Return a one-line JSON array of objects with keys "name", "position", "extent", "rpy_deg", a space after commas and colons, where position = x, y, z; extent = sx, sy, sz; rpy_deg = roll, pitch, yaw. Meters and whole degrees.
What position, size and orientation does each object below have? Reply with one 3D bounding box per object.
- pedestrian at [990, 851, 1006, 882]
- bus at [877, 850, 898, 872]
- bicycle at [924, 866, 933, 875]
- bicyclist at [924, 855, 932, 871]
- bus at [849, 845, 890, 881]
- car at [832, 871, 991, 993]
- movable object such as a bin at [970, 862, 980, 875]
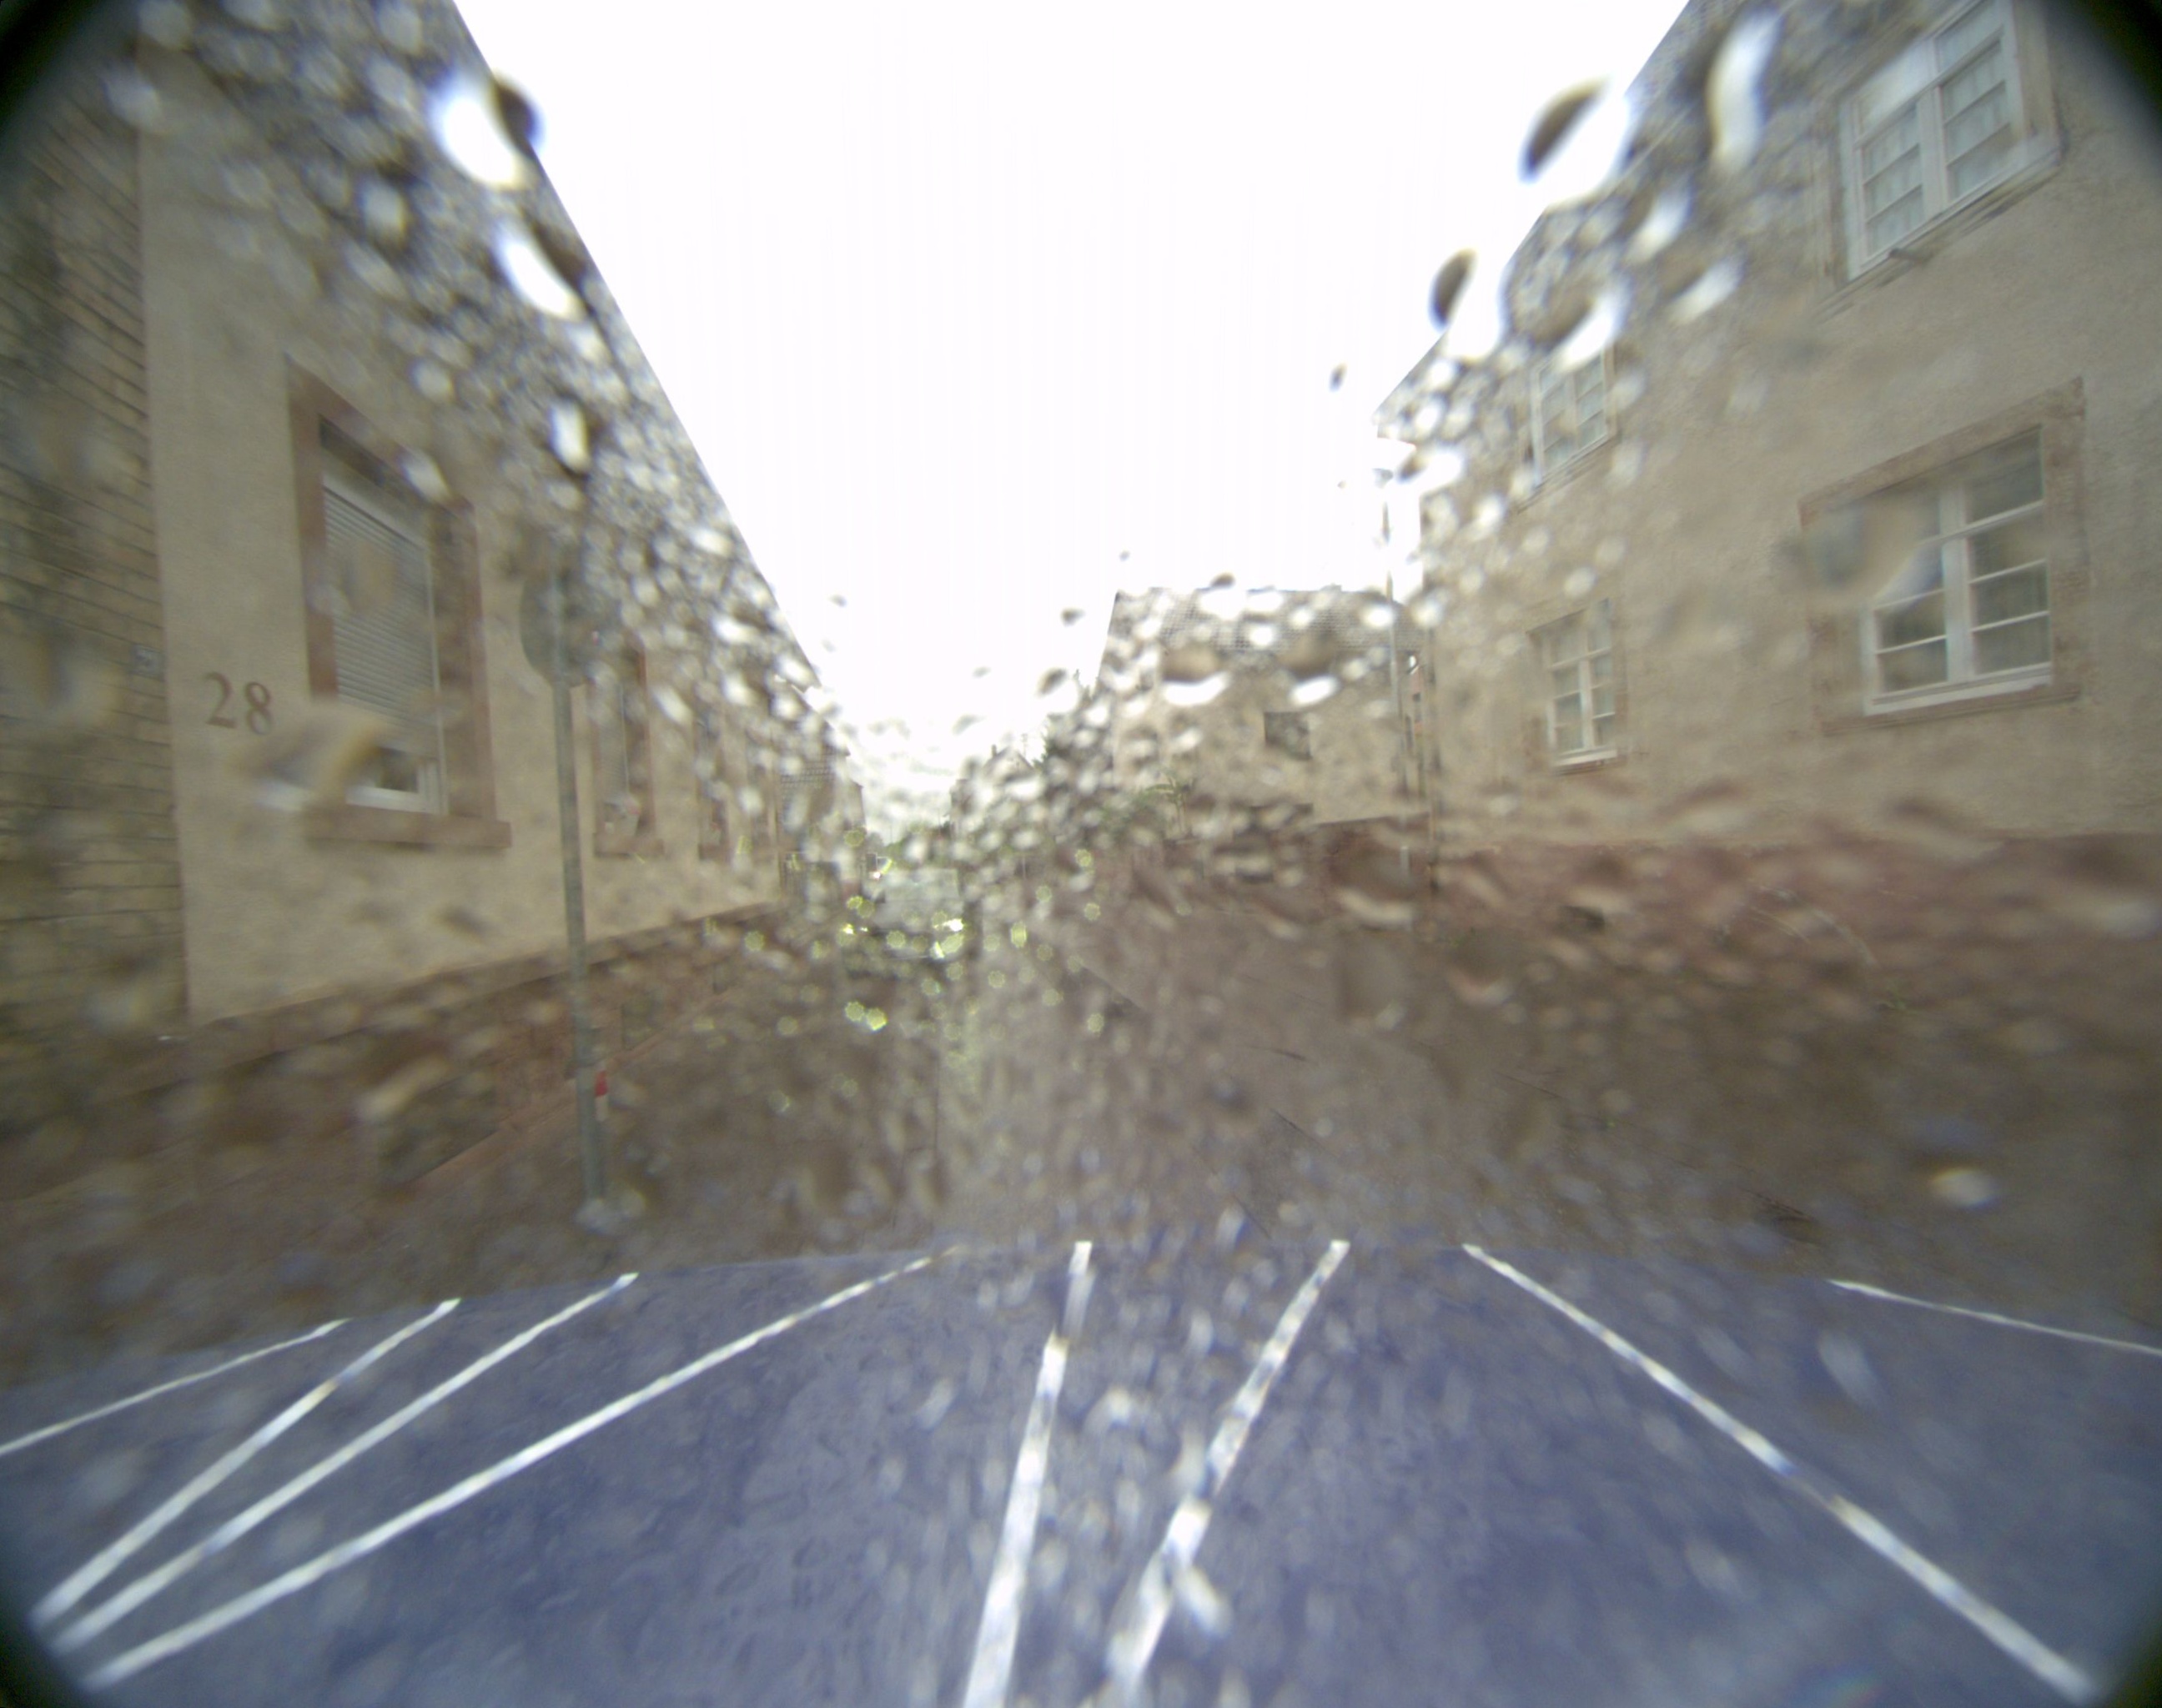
[{"name": "pedestrian", "position": [-4.806, 0.707, 44.082], "extent": [0.697, 1.722, 0.820], "rpy_deg": [-4, 1, -18]}, {"name": "bus", "position": [-30.371, 1.099, 119.063], "extent": [2.816, 2.922, 11.927], "rpy_deg": [-5, 1, -14]}, {"name": "bicycle", "position": [-17.353, 1.902, 86.440], "extent": [0.664, 0.865, 1.932], "rpy_deg": [-5, -1, -21]}, {"name": "bicyclist", "position": [-17.443, 1.049, 86.442], "extent": [0.659, 1.759, 0.702], "rpy_deg": [-5, -1, -21]}, {"name": "bus", "position": [-23.686, 0.991, 84.452], "extent": [3.445, 3.392, 13.849], "rpy_deg": [-4, 1, -18]}, {"name": "car", "position": [-2.437, 1.054, 11.940], "extent": [1.781, 1.348, 4.186], "rpy_deg": [-5, 0, -5]}, {"name": "movable object such as a bin", "position": [-8.179, 1.140, 58.722], "extent": [0.540, 0.925, 0.543], "rpy_deg": [-5, 2, -21]}]
